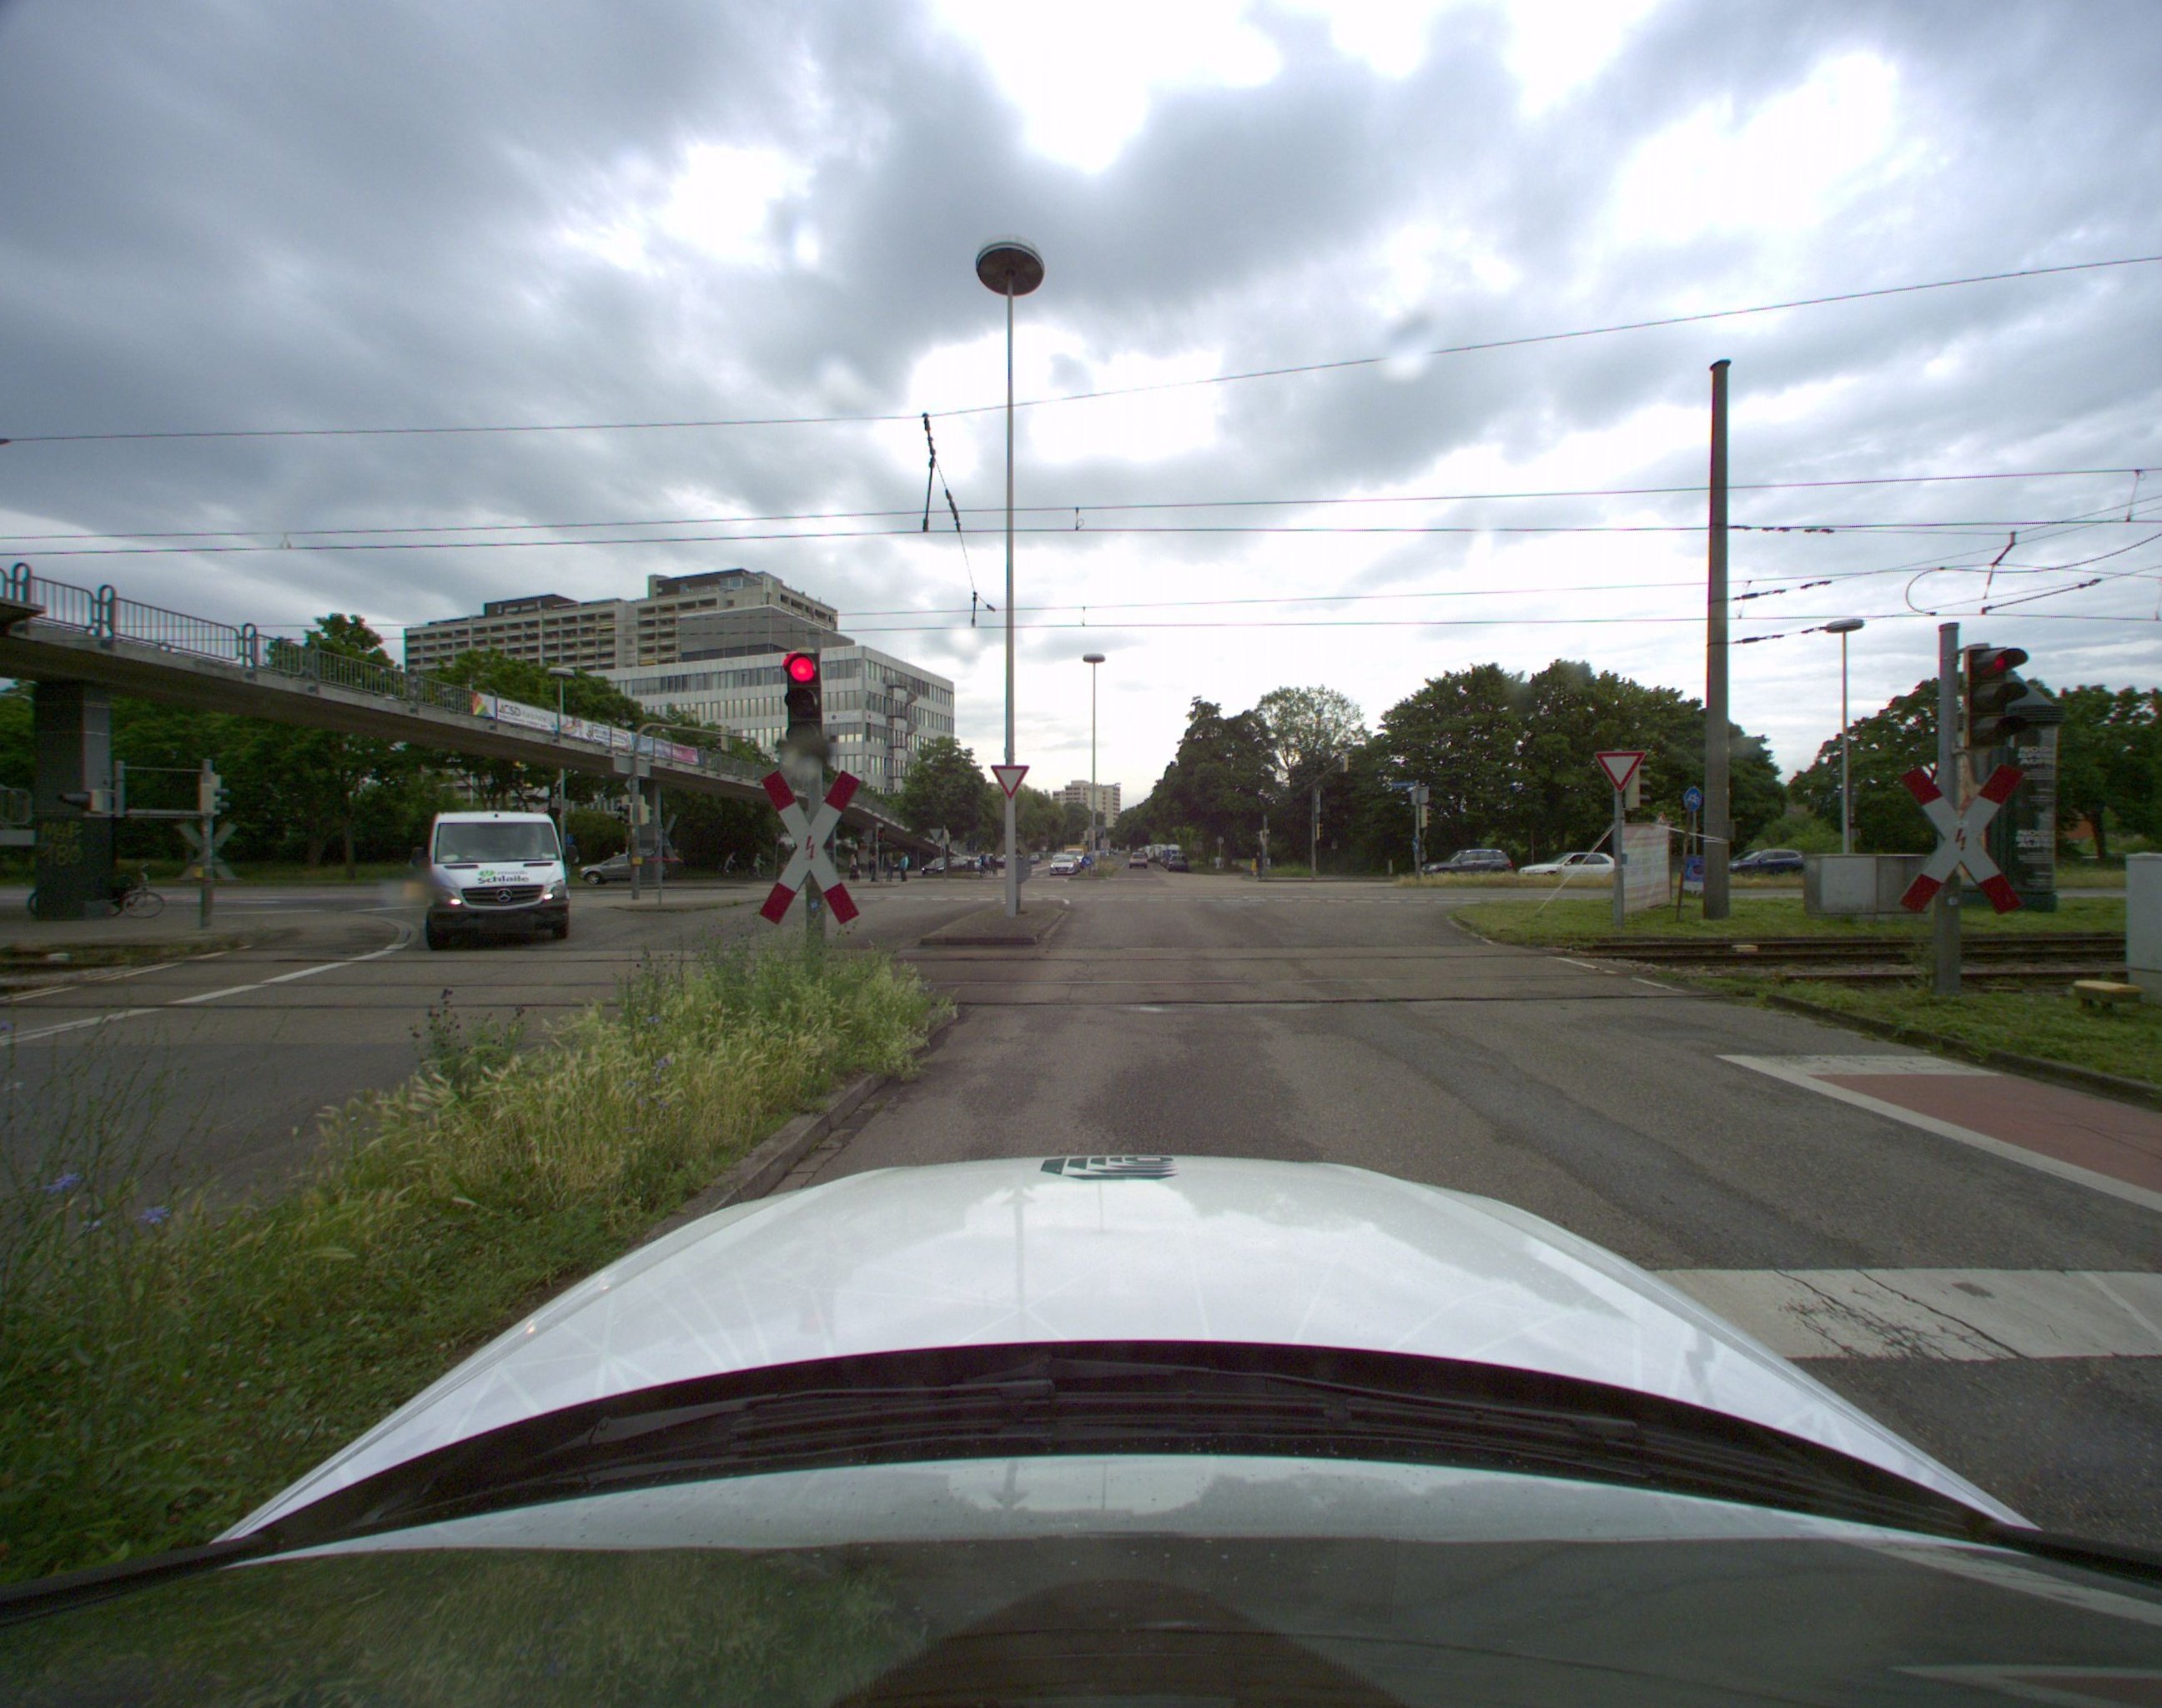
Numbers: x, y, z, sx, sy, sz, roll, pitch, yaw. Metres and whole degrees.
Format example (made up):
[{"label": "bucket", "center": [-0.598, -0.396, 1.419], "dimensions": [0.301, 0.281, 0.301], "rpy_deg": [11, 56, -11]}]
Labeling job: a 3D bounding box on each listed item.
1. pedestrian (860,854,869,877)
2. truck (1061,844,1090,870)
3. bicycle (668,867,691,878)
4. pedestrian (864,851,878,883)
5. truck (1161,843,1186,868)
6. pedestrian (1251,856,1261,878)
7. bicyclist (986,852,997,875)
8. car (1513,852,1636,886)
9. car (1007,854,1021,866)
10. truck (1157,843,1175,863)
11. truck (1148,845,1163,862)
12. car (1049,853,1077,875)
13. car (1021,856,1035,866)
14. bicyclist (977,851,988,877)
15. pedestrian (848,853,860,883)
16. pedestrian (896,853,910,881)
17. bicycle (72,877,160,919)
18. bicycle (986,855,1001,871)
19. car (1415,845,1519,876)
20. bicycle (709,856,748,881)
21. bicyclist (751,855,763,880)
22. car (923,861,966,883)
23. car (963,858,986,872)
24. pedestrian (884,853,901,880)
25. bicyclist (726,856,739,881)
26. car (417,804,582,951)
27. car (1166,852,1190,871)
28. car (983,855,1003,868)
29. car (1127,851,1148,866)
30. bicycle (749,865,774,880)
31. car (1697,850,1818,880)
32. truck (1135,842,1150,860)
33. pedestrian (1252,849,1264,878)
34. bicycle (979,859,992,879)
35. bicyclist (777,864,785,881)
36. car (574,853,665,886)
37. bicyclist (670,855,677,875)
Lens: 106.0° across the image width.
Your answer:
[{"label": "pedestrian", "center": [-15.144, 0.805, 57.015], "dimensions": [0.580, 1.579, 0.777], "rpy_deg": [0, 0, -16]}, {"label": "truck", "center": [-0.474, 0.223, 72.388], "dimensions": [2.146, 2.199, 5.846], "rpy_deg": [0, 0, 4]}, {"label": "bicycle", "center": [-26.229, 1.181, 53.193], "dimensions": [1.299, 0.692, 0.288], "rpy_deg": [0, 0, -25]}, {"label": "pedestrian", "center": [-11.925, 0.743, 46.239], "dimensions": [0.636, 1.803, 0.800], "rpy_deg": [0, 0, -7]}, {"label": "truck", "center": [10.273, 0.209, 90.660], "dimensions": [2.166, 2.656, 6.249], "rpy_deg": [-1, 0, 2]}, {"label": "pedestrian", "center": [10.700, 0.778, 49.719], "dimensions": [0.525, 1.342, 0.525], "rpy_deg": [0, 0, 1]}, {"label": "bicyclist", "center": [-6.463, 0.677, 58.760], "dimensions": [0.676, 1.594, 0.695], "rpy_deg": [0, -1, 1]}, {"label": "car", "center": [20.503, 0.625, 33.971], "dimensions": [4.120, 1.357, 1.648], "rpy_deg": [0, 0, 2]}, {"label": "car", "center": [-8.853, 0.798, 107.791], "dimensions": [1.439, 1.552, 3.666], "rpy_deg": [0, 0, 2]}, {"label": "truck", "center": [12.498, -0.174, 119.979], "dimensions": [1.988, 2.838, 5.727], "rpy_deg": [0, 0, -2]}, {"label": "truck", "center": [12.095, -0.066, 132.070], "dimensions": [1.987, 2.573, 5.377], "rpy_deg": [0, -1, 0]}, {"label": "car", "center": [-1.260, 0.705, 58.141], "dimensions": [1.782, 1.519, 4.327], "rpy_deg": [0, 0, 2]}, {"label": "car", "center": [-8.155, 1.090, 126.293], "dimensions": [1.665, 1.552, 4.003], "rpy_deg": [0, 0, 3]}, {"label": "bicyclist", "center": [-6.726, 0.698, 55.804], "dimensions": [0.642, 1.768, 0.647], "rpy_deg": [0, 0, 1]}, {"label": "pedestrian", "center": [-12.844, 0.803, 46.151], "dimensions": [0.619, 1.691, 0.403], "rpy_deg": [0, 0, -12]}, {"label": "pedestrian", "center": [-10.102, 0.744, 46.239], "dimensions": [0.685, 1.605, 0.487], "rpy_deg": [0, 0, -3]}, {"label": "bicycle", "center": [-21.742, 0.984, 18.346], "dimensions": [2.017, 0.921, 0.375], "rpy_deg": [0, 0, 13]}, {"label": "bicycle", "center": [-6.324, 0.637, 58.949], "dimensions": [0.724, 1.101, 2.265], "rpy_deg": [0, 0, 2]}, {"label": "car", "center": [19.595, 0.331, 41.502], "dimensions": [4.447, 1.504, 1.847], "rpy_deg": [0, 0, 2]}, {"label": "bicycle", "center": [-23.372, 0.953, 53.989], "dimensions": [2.368, 1.625, 0.524], "rpy_deg": [0, -1, -23]}, {"label": "bicyclist", "center": [-21.510, 0.871, 54.099], "dimensions": [0.563, 1.644, 0.532], "rpy_deg": [0, -1, 2]}, {"label": "car", "center": [-10.134, 1.320, 60.751], "dimensions": [1.660, 1.552, 4.015], "rpy_deg": [0, 0, 14]}, {"label": "car", "center": [-10.864, 1.104, 83.572], "dimensions": [1.665, 1.387, 3.898], "rpy_deg": [0, 0, 3]}, {"label": "pedestrian", "center": [-10.715, 0.717, 46.264], "dimensions": [0.917, 1.511, 0.402], "rpy_deg": [0, 0, -10]}, {"label": "bicyclist", "center": [-23.145, 0.953, 54.118], "dimensions": [0.750, 1.625, 0.524], "rpy_deg": [0, -1, -23]}, {"label": "car", "center": [-11.078, 0.363, 15.336], "dimensions": [2.152, 2.292, 5.147], "rpy_deg": [0, 0, -40]}, {"label": "car", "center": [8.793, 0.622, 73.882], "dimensions": [1.777, 1.662, 4.002], "rpy_deg": [0, 0, 2]}, {"label": "car", "center": [-10.133, 0.826, 94.303], "dimensions": [1.757, 1.395, 4.002], "rpy_deg": [0, 0, 2]}, {"label": "car", "center": [5.931, 0.489, 85.890], "dimensions": [2.013, 1.505, 4.002], "rpy_deg": [0, 0, 2]}, {"label": "bicycle", "center": [-21.168, 1.199, 53.999], "dimensions": [0.628, 0.925, 2.524], "rpy_deg": [0, 0, 2]}, {"label": "car", "center": [33.858, 0.531, 40.847], "dimensions": [4.447, 1.440, 1.847], "rpy_deg": [0, 0, 2]}, {"label": "truck", "center": [10.790, -0.446, 142.905], "dimensions": [1.988, 3.009, 5.768], "rpy_deg": [0, -1, -1]}, {"label": "pedestrian", "center": [10.677, 0.582, 49.086], "dimensions": [0.654, 1.750, 0.459], "rpy_deg": [0, 0, 1]}, {"label": "bicycle", "center": [-6.576, 1.019, 56.055], "dimensions": [0.541, 1.267, 2.112], "rpy_deg": [0, 0, 2]}, {"label": "bicyclist", "center": [-20.470, 1.272, 55.532], "dimensions": [0.403, 1.181, 0.378], "rpy_deg": [0, 1, 4]}, {"label": "car", "center": [-25.720, 0.844, 45.565], "dimensions": [4.211, 1.734, 1.617], "rpy_deg": [0, 0, -22]}, {"label": "bicyclist", "center": [-26.570, 0.742, 53.077], "dimensions": [0.384, 1.303, 0.276], "rpy_deg": [0, 0, -22]}]
